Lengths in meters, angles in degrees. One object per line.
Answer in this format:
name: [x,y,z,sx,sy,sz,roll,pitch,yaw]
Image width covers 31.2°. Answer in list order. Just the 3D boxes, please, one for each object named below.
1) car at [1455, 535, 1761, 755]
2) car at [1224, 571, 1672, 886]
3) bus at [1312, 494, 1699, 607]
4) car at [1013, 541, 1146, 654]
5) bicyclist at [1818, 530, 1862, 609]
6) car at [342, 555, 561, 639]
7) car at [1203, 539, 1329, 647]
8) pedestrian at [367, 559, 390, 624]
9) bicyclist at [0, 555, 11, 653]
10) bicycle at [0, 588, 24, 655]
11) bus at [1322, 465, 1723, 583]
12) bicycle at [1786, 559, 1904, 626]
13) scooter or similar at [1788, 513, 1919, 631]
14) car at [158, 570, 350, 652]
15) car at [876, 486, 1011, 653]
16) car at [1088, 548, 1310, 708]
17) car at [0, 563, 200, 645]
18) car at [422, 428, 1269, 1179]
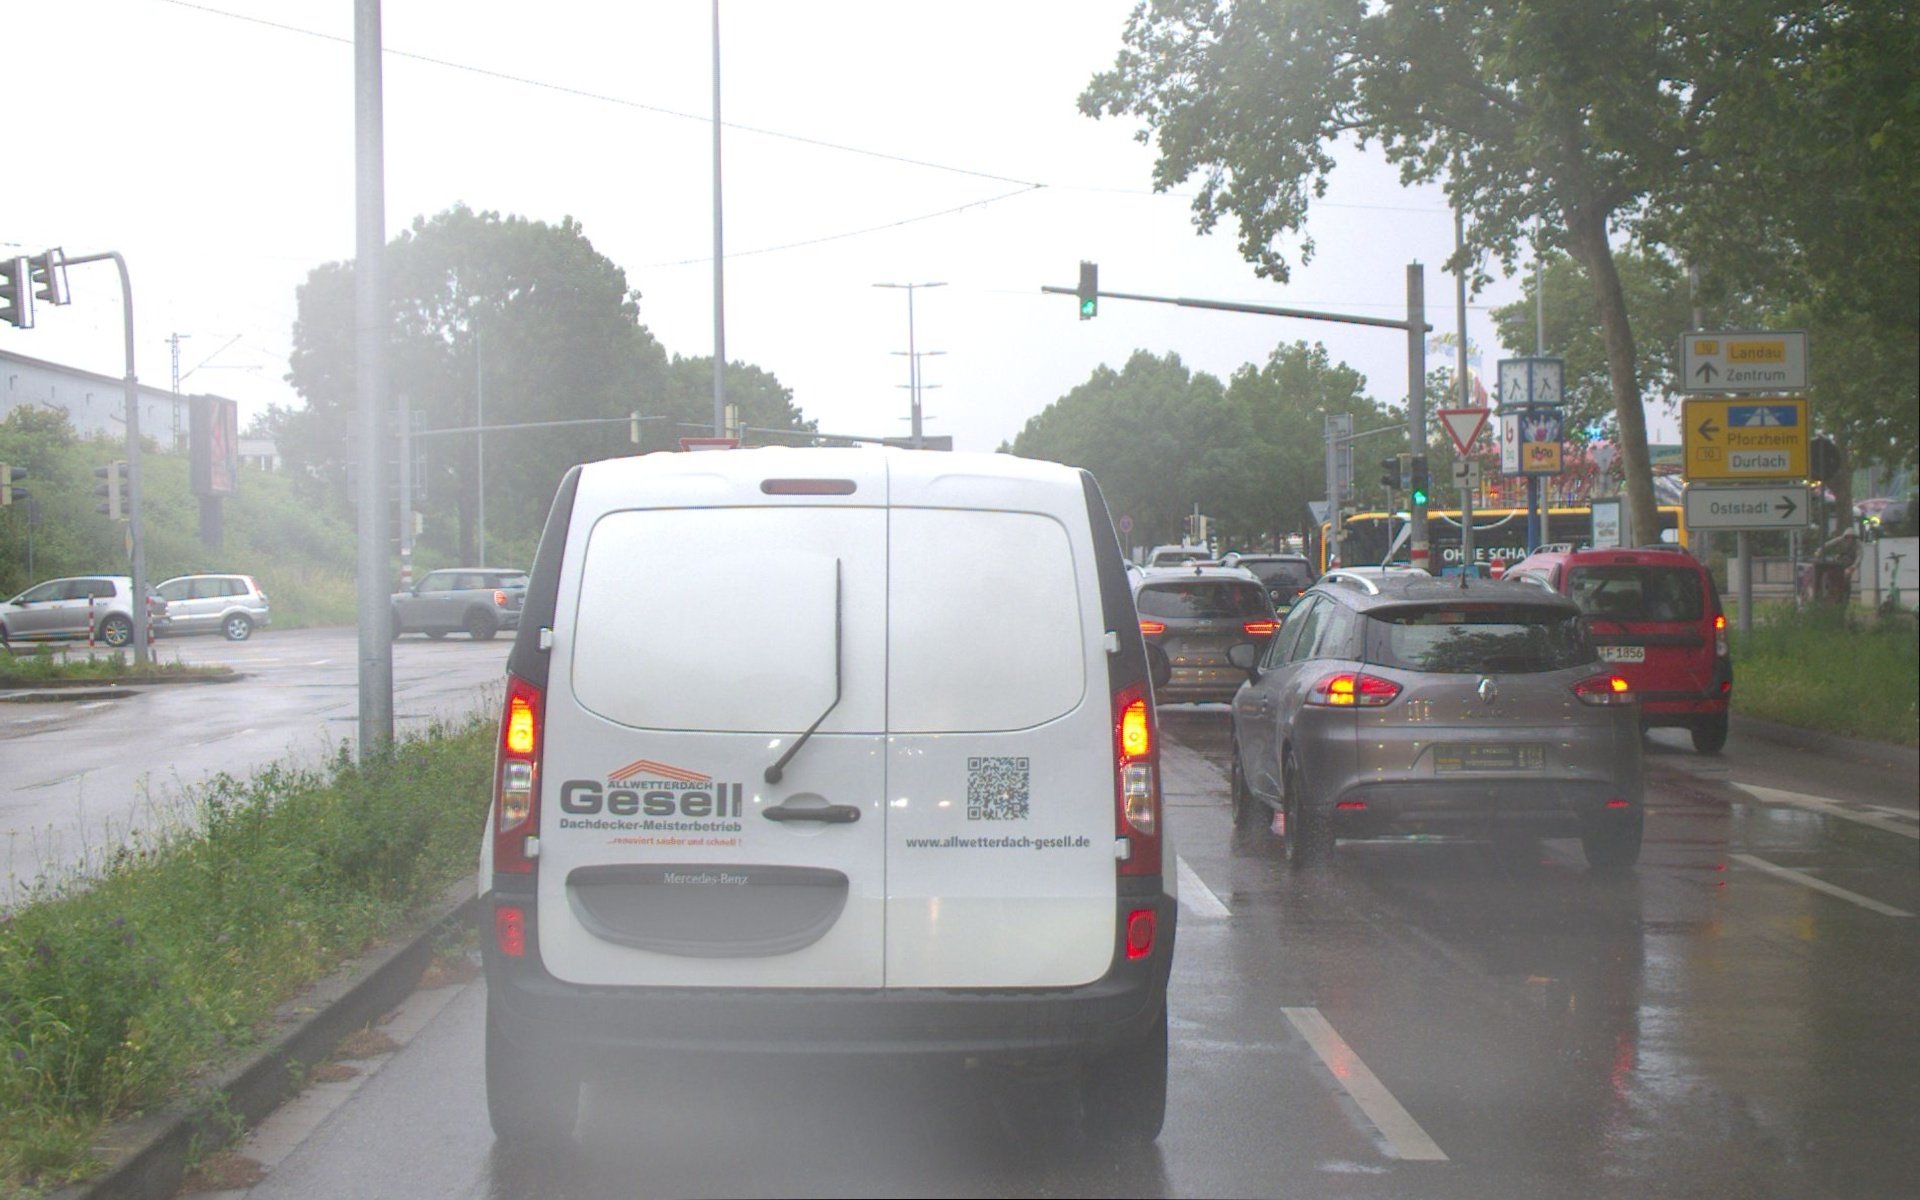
car: [5.356,0.346,28.925,1.710,1.688,4.272,1,0,-1]
car: [2.413,0.582,17.875,1.683,1.403,3.843,1,1,-1]
bus: [17.471,-1.608,110.433,11.969,3.411,2.483,-1,1,-3]
car: [1.781,-0.071,52.186,1.854,1.644,3.843,0,1,0]
bicyclist: [15.874,-0.555,62.028,0.620,1.414,0.470,0,0,41]
car: [-10.185,-0.074,68.739,4.186,1.645,1.796,0,1,32]
car: [5.023,-0.143,56.868,1.708,1.722,3.843,0,1,0]
pedestrian: [-15.522,-0.232,91.756,0.543,1.710,0.563,1,0,-4]
bicyclist: [-14.721,0.063,51.140,1.040,1.445,0.729,-1,1,-25]
bicycle: [-14.724,0.312,51.171,1.040,0.949,2.889,-2,1,-25]
bus: [17.351,-2.366,106.453,11.970,3.411,2.315,-1,1,0]
bicycle: [16.037,-0.144,62.202,0.620,1.182,3.366,0,1,41]
scooter or similar: [20.277,-0.599,72.622,1.890,2.437,5.316,-1,1,-40]
car: [-15.966,0.249,77.692,3.986,1.711,2.000,-2,0,-19]
car: [-0.239,-0.450,49.099,1.854,2.288,3.843,0,1,0]
car: [2.259,0.224,33.400,1.854,1.455,3.843,0,1,0]
car: [-17.656,0.091,69.986,3.815,1.538,2.000,-2,0,3]
car: [-0.288,0.441,10.401,1.993,1.770,4.585,0,1,0]
